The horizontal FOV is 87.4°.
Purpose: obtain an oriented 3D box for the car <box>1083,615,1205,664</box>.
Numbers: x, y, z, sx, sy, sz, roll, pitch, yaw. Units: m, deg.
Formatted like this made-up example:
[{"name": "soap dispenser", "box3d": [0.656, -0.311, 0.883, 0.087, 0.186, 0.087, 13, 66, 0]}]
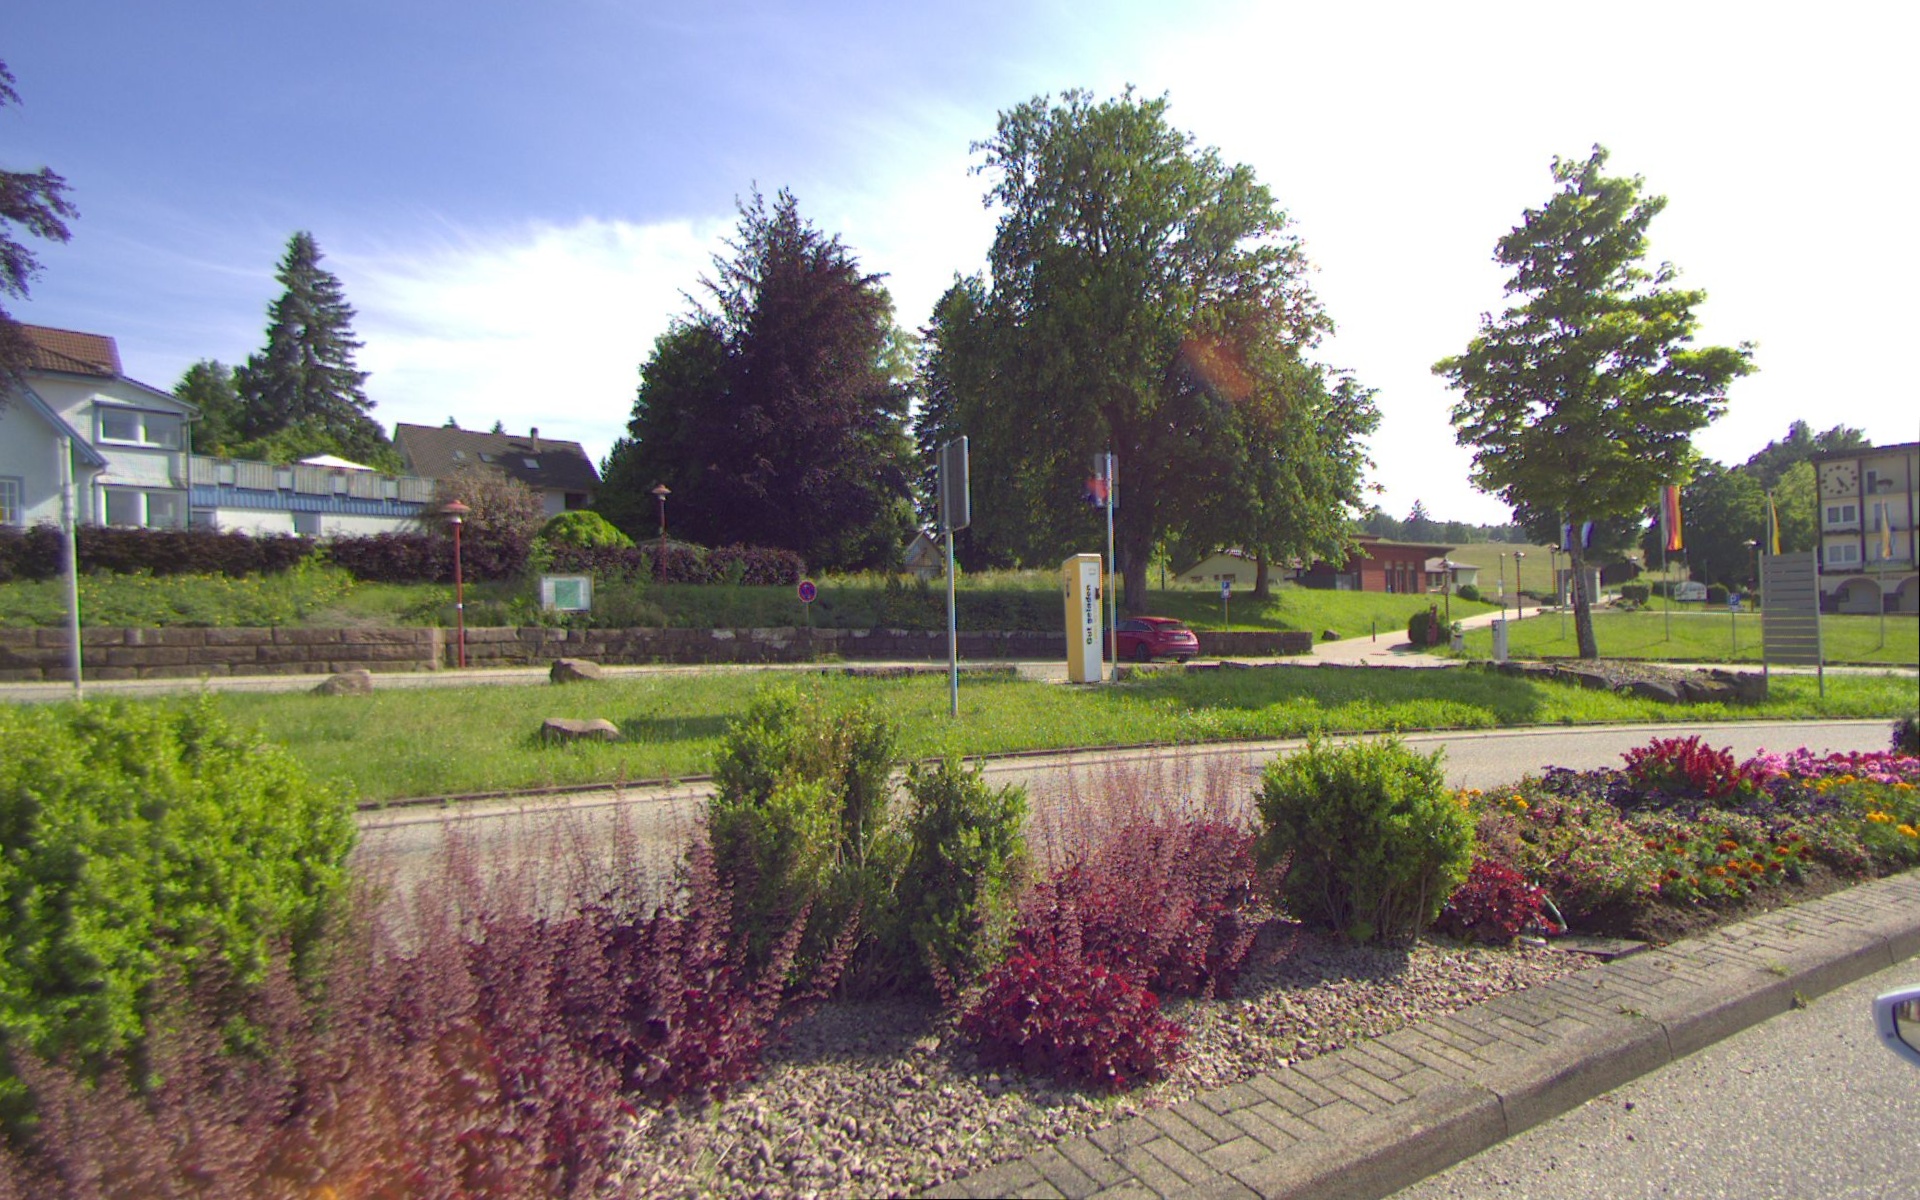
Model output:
[{"name": "car", "box3d": [5.936, 1.241, 32.901, 1.800, 1.417, 4.210, 1, 0, -26]}]
